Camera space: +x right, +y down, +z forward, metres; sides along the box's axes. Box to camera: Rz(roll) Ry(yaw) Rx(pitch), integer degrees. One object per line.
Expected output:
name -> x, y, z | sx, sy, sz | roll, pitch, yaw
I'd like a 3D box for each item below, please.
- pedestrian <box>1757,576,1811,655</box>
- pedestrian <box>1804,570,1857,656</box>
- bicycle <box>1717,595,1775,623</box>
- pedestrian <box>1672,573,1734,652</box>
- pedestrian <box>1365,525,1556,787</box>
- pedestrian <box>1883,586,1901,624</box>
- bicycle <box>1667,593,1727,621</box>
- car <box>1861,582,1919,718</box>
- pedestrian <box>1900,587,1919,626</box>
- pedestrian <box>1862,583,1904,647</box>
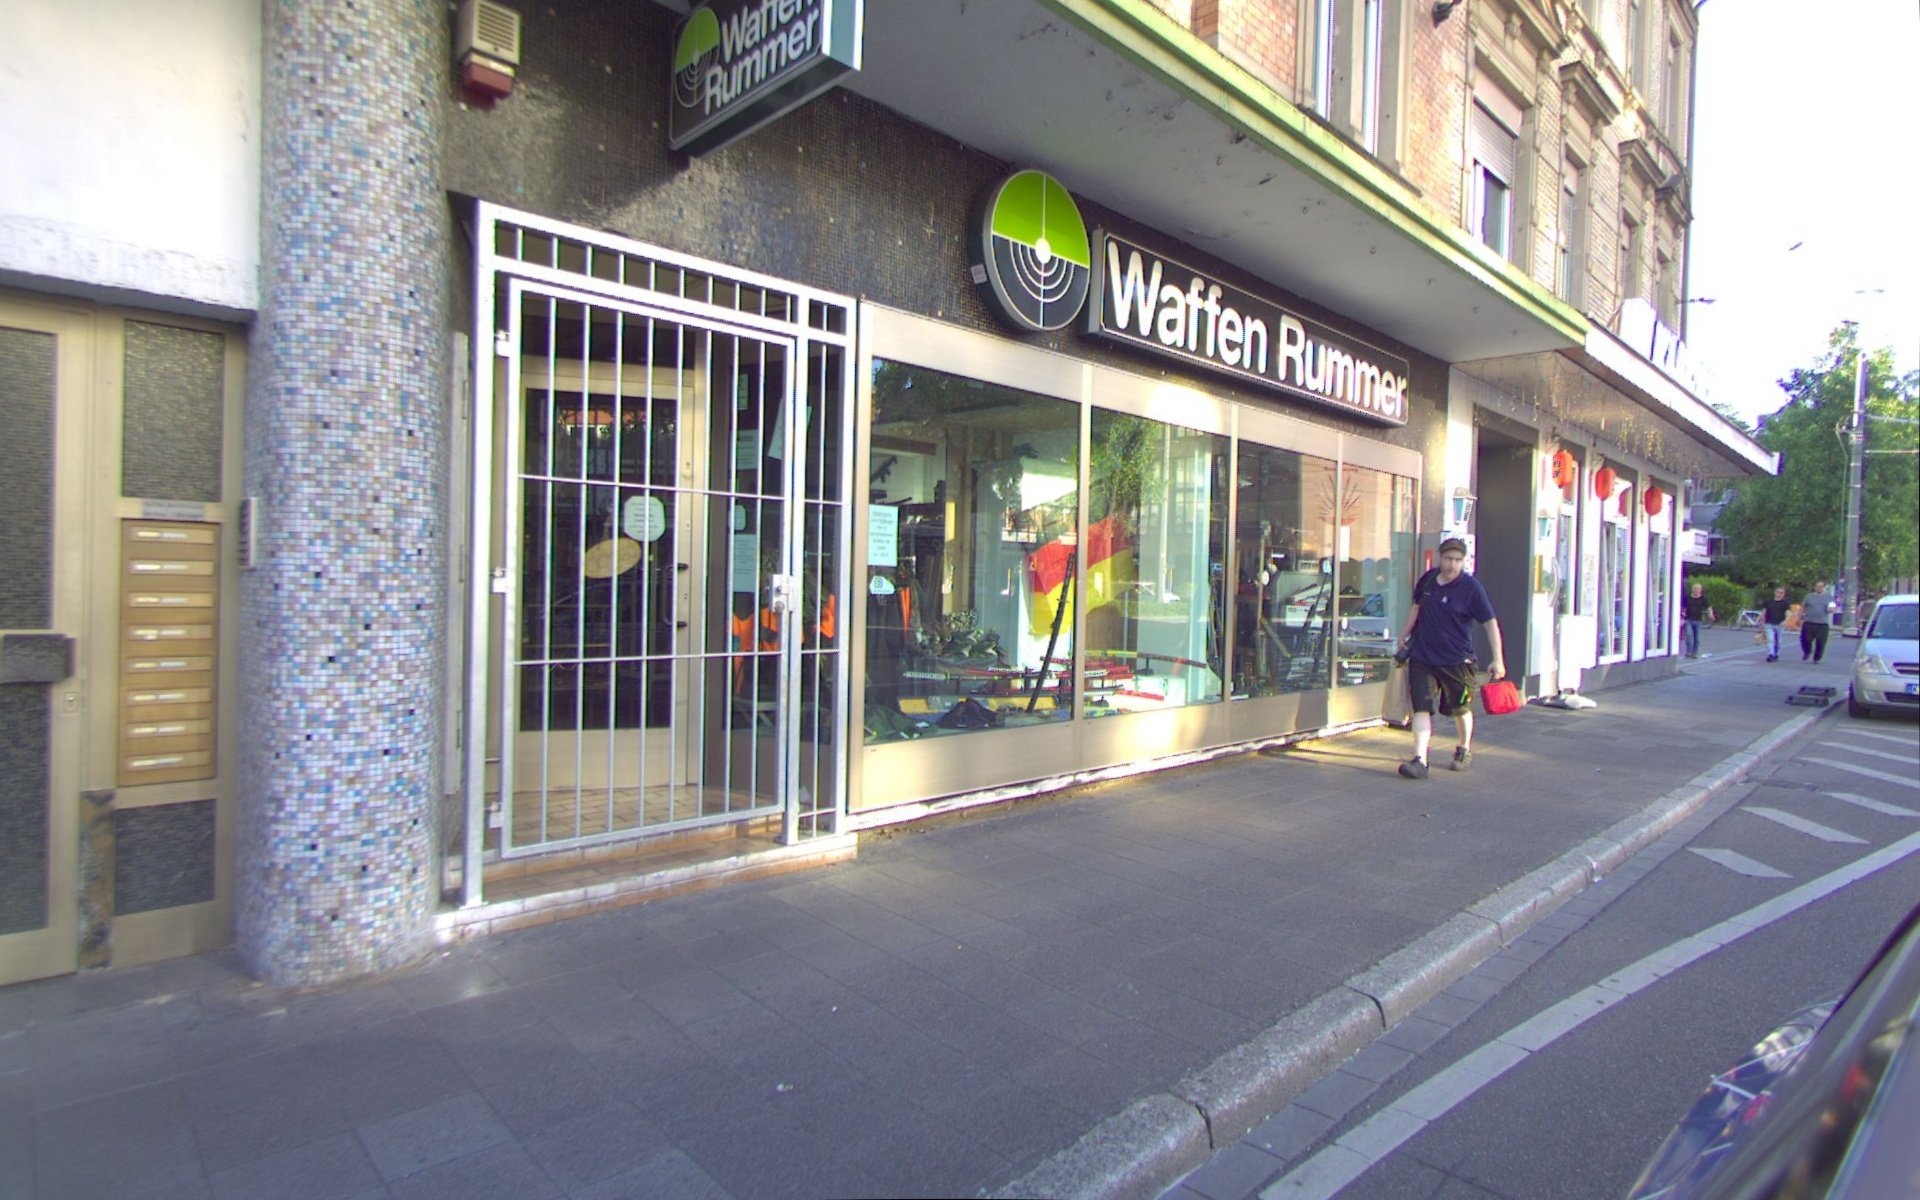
pedestrian -> 19.288, 0.336, 23.689 | 1.016, 1.778, 0.811 | 0, 2, -44
pedestrian -> 20.137, 0.289, 23.403 | 1.016, 1.922, 0.794 | 0, 2, -44
bicycle -> 33.455, 0.380, 43.088 | 0.461, 1.109, 1.882 | 0, 2, -45
pedestrian -> 17.286, 0.282, 23.542 | 1.016, 1.734, 0.902 | 0, 4, -44
pedestrian -> 3.800, 0.362, 7.679 | 1.037, 1.814, 0.947 | 0, 2, -44
pedestrian -> 42.778, 0.232, 46.441 | 0.430, 1.734, 0.493 | 0, 3, -44
bicycle -> 31.780, 0.297, 43.653 | 2.012, 1.109, 0.628 | 4, 2, 40
car -> 13.163, 0.604, 13.401 | 1.638, 1.635, 3.882 | 1, 1, 45
pedestrian -> 43.198, 0.305, 46.052 | 0.430, 1.734, 0.493 | 0, 3, -44
pedestrian -> 26.148, 0.397, 28.669 | 0.930, 1.759, 0.788 | 0, 1, -44
